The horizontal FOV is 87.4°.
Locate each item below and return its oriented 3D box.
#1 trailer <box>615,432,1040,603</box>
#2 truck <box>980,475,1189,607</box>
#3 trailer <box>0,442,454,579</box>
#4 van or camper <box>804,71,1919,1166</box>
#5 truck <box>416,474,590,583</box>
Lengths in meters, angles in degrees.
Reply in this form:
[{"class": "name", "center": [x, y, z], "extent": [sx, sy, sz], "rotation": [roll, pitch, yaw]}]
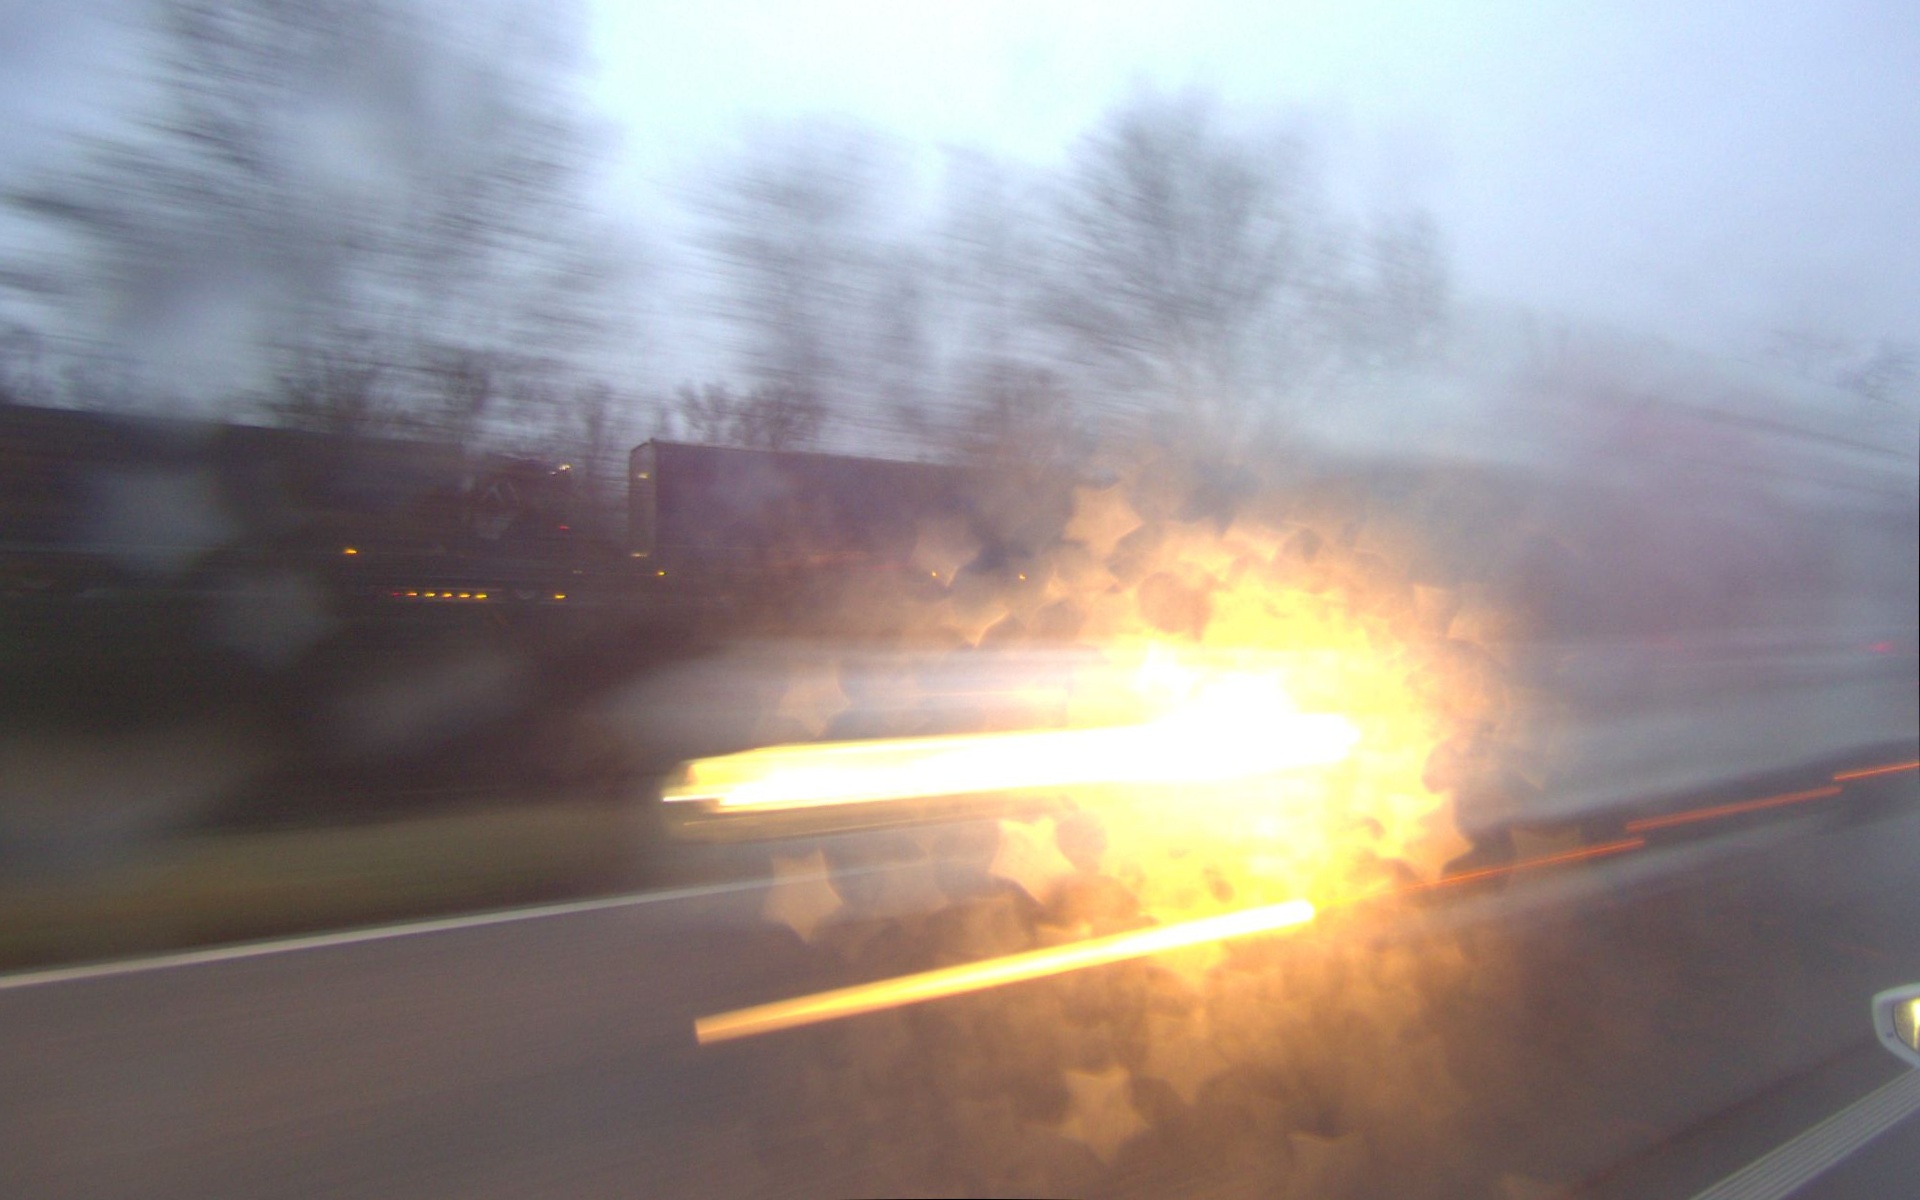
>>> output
[{"class": "trailer", "center": [-3.276, -1.907, 27.465], "extent": [11.256, 3.682, 2.983], "rotation": [2, -1, -31]}, {"class": "truck", "center": [3.968, -1.691, 31.826], "extent": [5.997, 3.680, 2.977], "rotation": [1, -1, -31]}, {"class": "trailer", "center": [-18.058, -1.941, 23.065], "extent": [11.367, 2.456, 2.497], "rotation": [2, -1, -30]}, {"class": "van or camper", "center": [2.713, 0.124, 5.148], "extent": [6.664, 2.813, 2.011], "rotation": [1, -1, -30]}, {"class": "truck", "center": [-12.112, -1.770, 26.622], "extent": [3.953, 2.468, 2.518], "rotation": [2, -1, -30]}]
